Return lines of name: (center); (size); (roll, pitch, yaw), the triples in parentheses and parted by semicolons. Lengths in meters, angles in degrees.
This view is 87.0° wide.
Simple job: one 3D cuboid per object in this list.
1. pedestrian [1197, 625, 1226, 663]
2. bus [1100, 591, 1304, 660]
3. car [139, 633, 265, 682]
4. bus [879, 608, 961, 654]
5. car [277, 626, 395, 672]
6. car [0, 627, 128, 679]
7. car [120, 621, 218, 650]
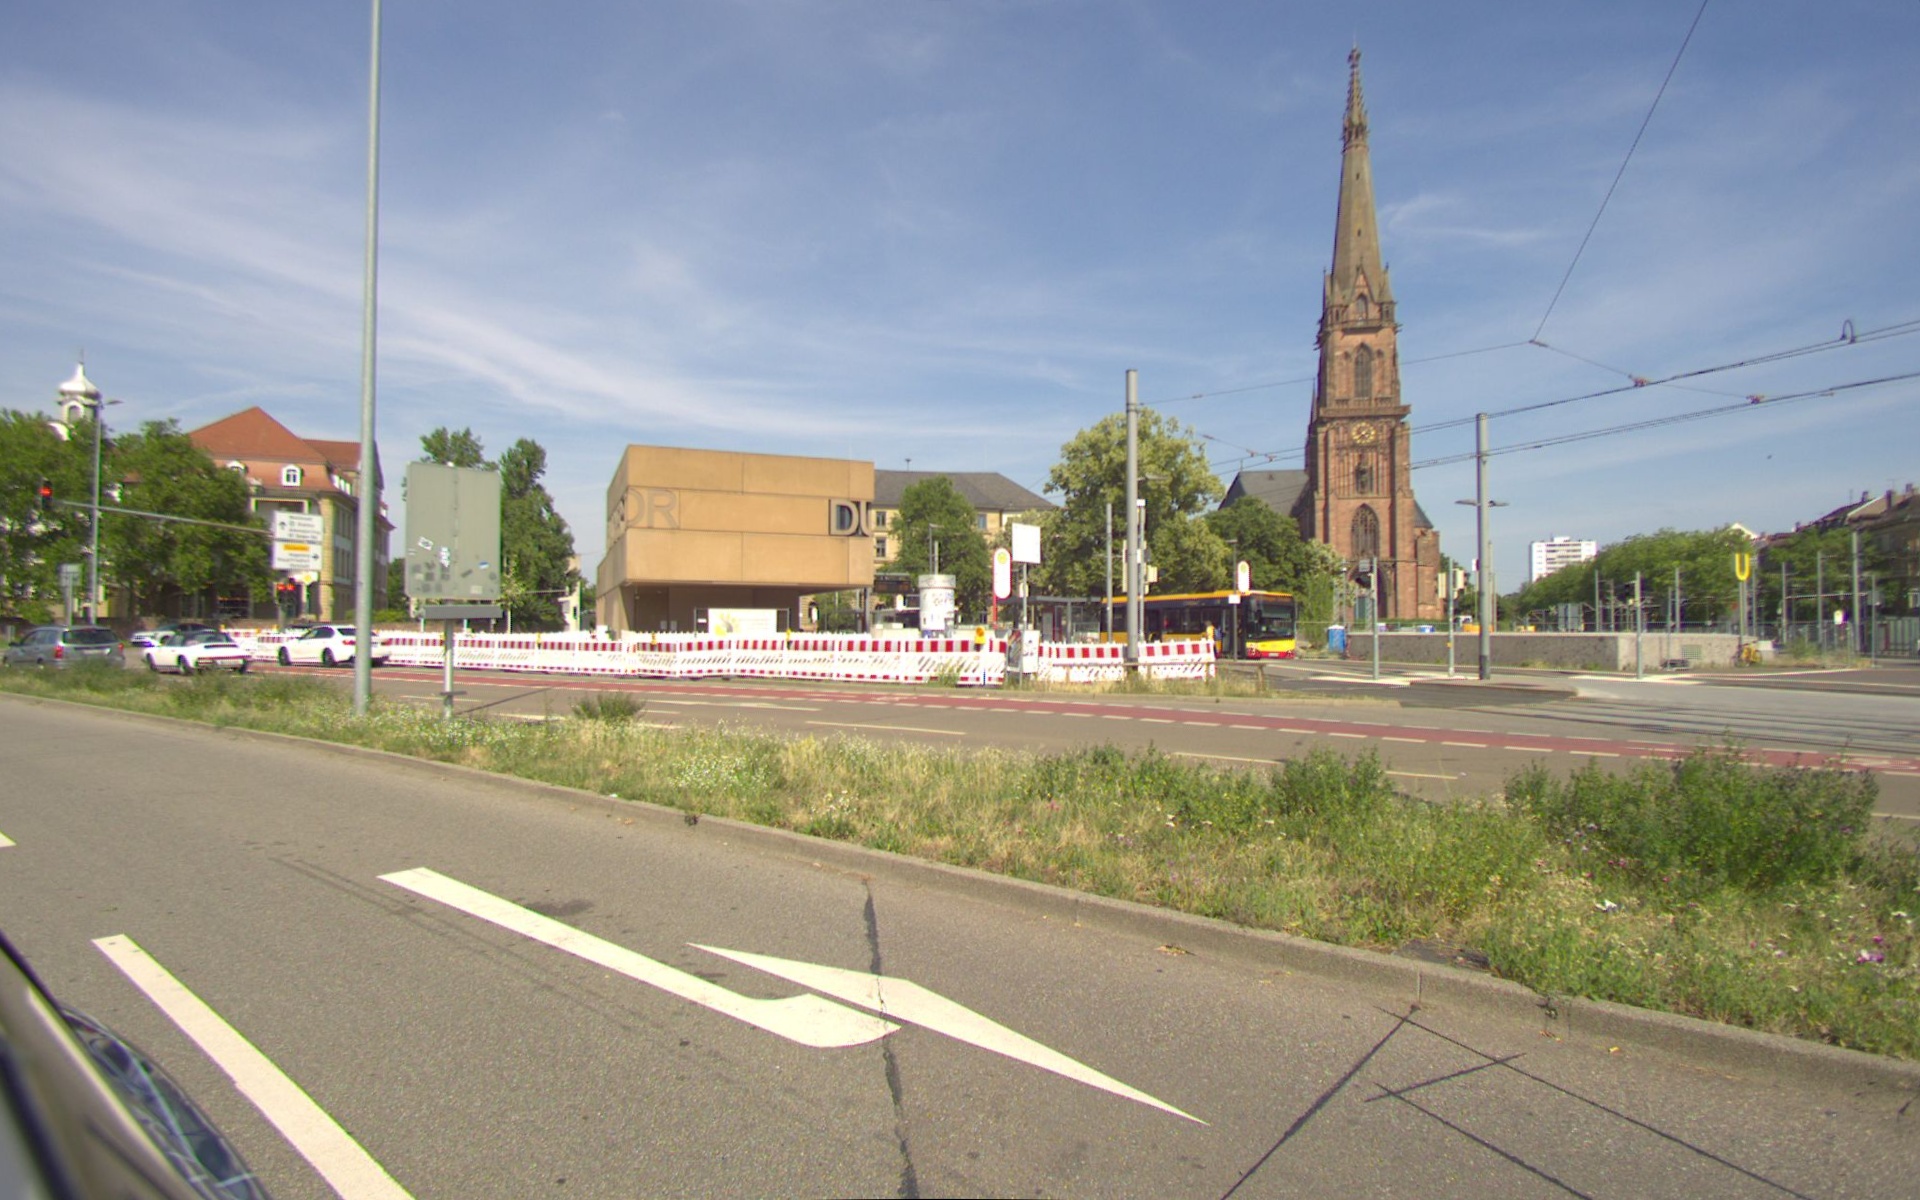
pedestrian: (9.403, 1.637, 37.838); (0.911, 1.377, 0.532); (-1, 0, 41)
bus: (10.492, 1.013, 45.984); (2.711, 2.703, 11.828); (-1, 0, -22)
car: (-22.430, 1.657, 29.924); (3.984, 1.296, 1.583); (-1, 0, 30)
bus: (-3.341, 2.438, 79.571); (2.710, 3.348, 11.827); (1, -2, -22)
car: (-21.399, 1.635, 34.664); (3.984, 1.431, 1.785); (-1, 0, 30)
car: (-24.700, 1.419, 27.799); (3.984, 1.296, 1.583); (-1, 0, 30)
car: (-44.320, 1.951, 56.806); (1.743, 1.454, 4.092); (-1, 0, 16)
